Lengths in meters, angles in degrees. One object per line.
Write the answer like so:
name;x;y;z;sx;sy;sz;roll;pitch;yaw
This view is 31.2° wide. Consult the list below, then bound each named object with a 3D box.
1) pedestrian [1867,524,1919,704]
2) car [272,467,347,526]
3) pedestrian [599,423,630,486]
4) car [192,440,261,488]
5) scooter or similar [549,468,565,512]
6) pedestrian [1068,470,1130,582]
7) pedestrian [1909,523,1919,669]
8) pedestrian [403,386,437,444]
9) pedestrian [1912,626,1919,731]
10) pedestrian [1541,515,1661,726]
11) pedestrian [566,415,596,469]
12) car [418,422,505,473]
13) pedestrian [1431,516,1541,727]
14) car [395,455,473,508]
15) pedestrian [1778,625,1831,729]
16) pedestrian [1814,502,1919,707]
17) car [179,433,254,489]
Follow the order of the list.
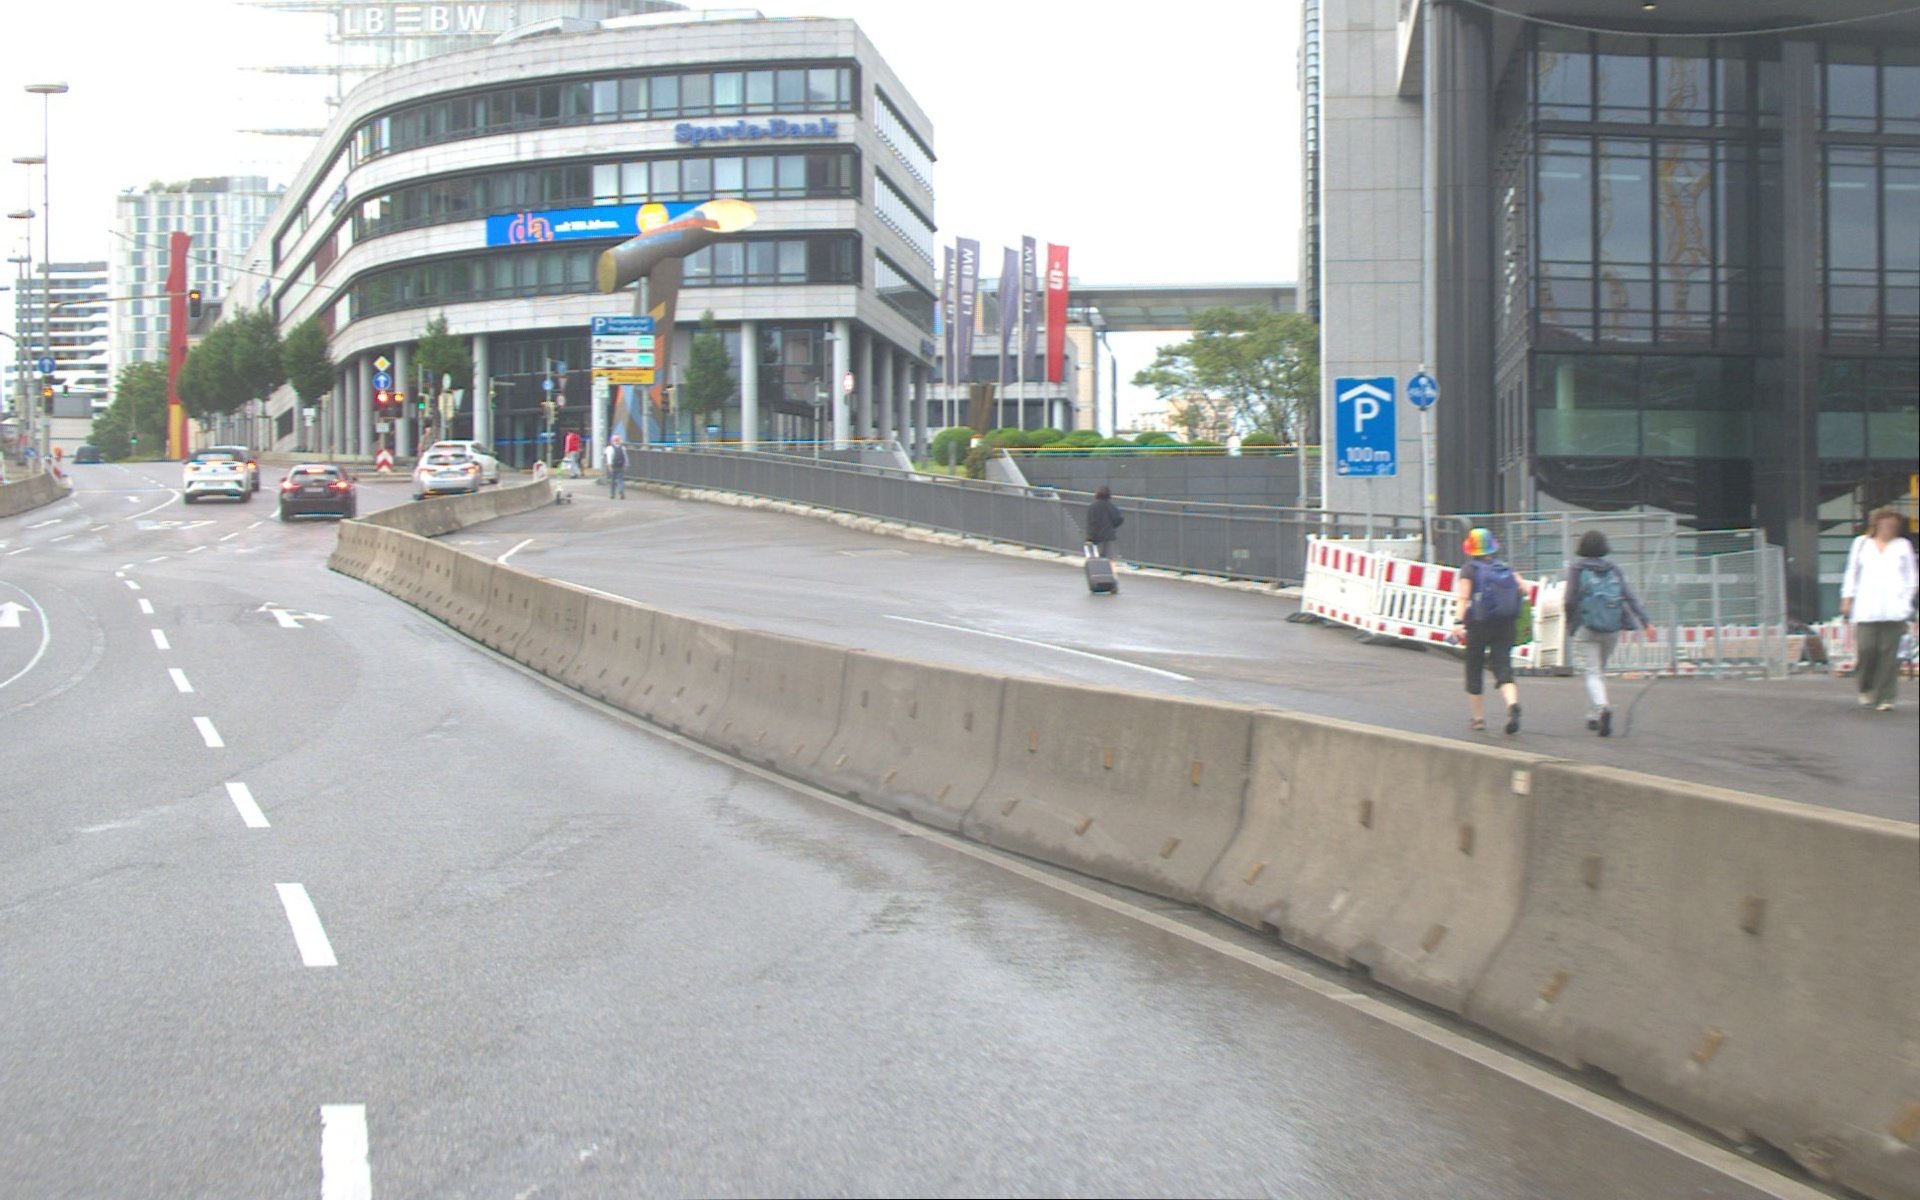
pedestrian;8.162;0.115;29.452;0.609;1.517;0.885;0;0;5
car;-16.506;-2.626;87.083;1.754;1.402;4.229;1;1;-12
pedestrian;-9.552;-4.013;95.073;0.729;1.705;0.843;0;0;-15
car;-22.977;-4.269;107.614;1.739;1.438;4.002;0;3;-18
scooter or similar;-10.505;-2.866;89.615;0.349;1.158;0.573;0;1;0
pedestrian;2.066;-1.099;51.024;0.730;1.646;1.060;1;2;13
pedestrian;11.101;-0.048;38.864;0.698;1.631;0.915;0;0;14
pedestrian;-20.041;-6.861;127.499;0.852;2.091;0.904;1;2;-38
pedestrian;15.462;1.233;54.162;0.866;1.631;1.007;0;1;14
pedestrian;4.920;0.148;26.361;0.861;1.588;0.952;0;0;13
pedestrian;-13.583;-5.662;123.227;0.841;1.898;0.861;0;0;11
car;-16.193;-4.973;111.885;1.771;1.628;4.581;1;3;5
pedestrian;4.032;0.156;26.328;0.732;1.569;0.804;2;1;13
car;-15.116;-3.401;98.662;1.700;1.446;4.617;0;2;-15
pedestrian;13.418;1.216;54.608;0.587;1.631;0.750;0;1;34
pedestrian;7.743;0.031;29.283;0.777;1.717;0.891;0;0;5
car;-21.315;-4.011;98.687;1.963;1.543;4.220;0;3;-10
